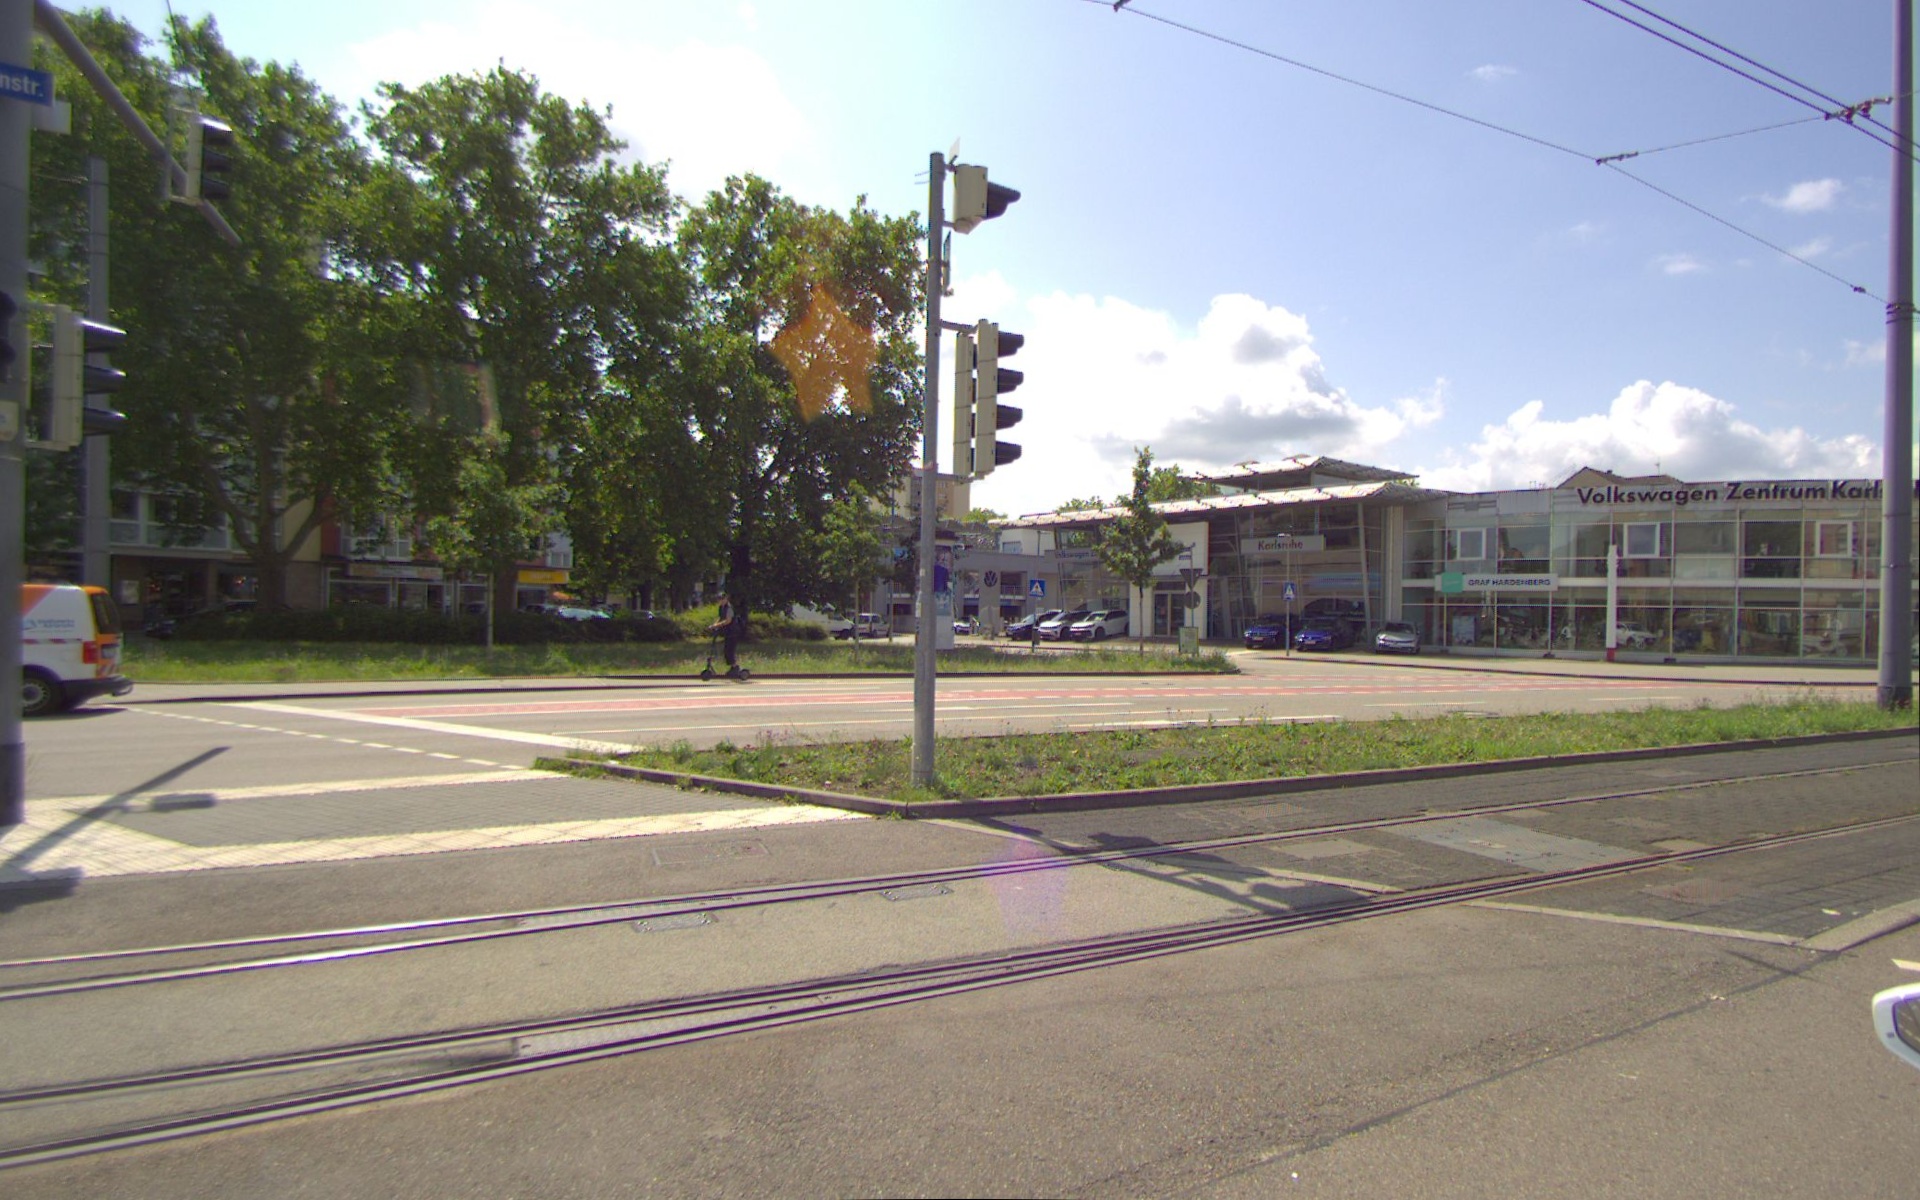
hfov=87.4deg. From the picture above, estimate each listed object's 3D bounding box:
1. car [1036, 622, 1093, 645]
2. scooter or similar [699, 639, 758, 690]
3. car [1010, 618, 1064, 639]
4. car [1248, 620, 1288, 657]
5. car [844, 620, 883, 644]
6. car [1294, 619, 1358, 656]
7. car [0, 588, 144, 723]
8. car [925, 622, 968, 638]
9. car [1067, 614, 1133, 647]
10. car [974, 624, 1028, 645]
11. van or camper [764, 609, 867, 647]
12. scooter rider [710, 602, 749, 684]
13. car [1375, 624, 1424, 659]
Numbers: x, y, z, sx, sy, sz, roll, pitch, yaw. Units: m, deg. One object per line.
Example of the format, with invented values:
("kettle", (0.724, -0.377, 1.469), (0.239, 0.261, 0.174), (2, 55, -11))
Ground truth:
("car", (6.273, 1.983, 60.051), (1.536, 1.262, 3.618), (0, -1, 44))
("scooter or similar", (-4.974, 1.377, 21.595), (1.078, 1.046, 0.801), (1, -1, -27))
("car", (4.742, 1.746, 61.696), (1.534, 1.262, 3.622), (0, -1, 40))
("car", (15.030, 1.837, 48.916), (1.741, 1.695, 3.640), (0, -1, 19))
("car", (-7.139, 2.342, 73.917), (1.969, 1.639, 3.983), (1, -1, -19))
("car", (16.930, 1.695, 46.395), (1.635, 1.494, 3.769), (0, 2, 40))
("car", (-13.957, 0.747, 13.645), (4.190, 1.789, 1.758), (0, -1, -29))
("car", (-1.147, 2.496, 84.988), (3.588, 1.262, 1.549), (0, -1, 43))
("car", (8.124, 1.741, 58.127), (3.835, 1.798, 1.680), (1, -1, -41))
("car", (2.639, 2.166, 63.565), (1.534, 1.262, 3.622), (0, -1, 40))
("van or camper", (-9.899, 1.900, 69.029), (6.597, 2.532, 2.562), (1, -1, -27))
("scooter rider", (-4.957, 0.915, 21.602), (0.641, 1.730, 0.774), (1, 0, -27))
("car", (20.018, 1.847, 45.688), (1.801, 1.466, 3.942), (0, -1, 27))
